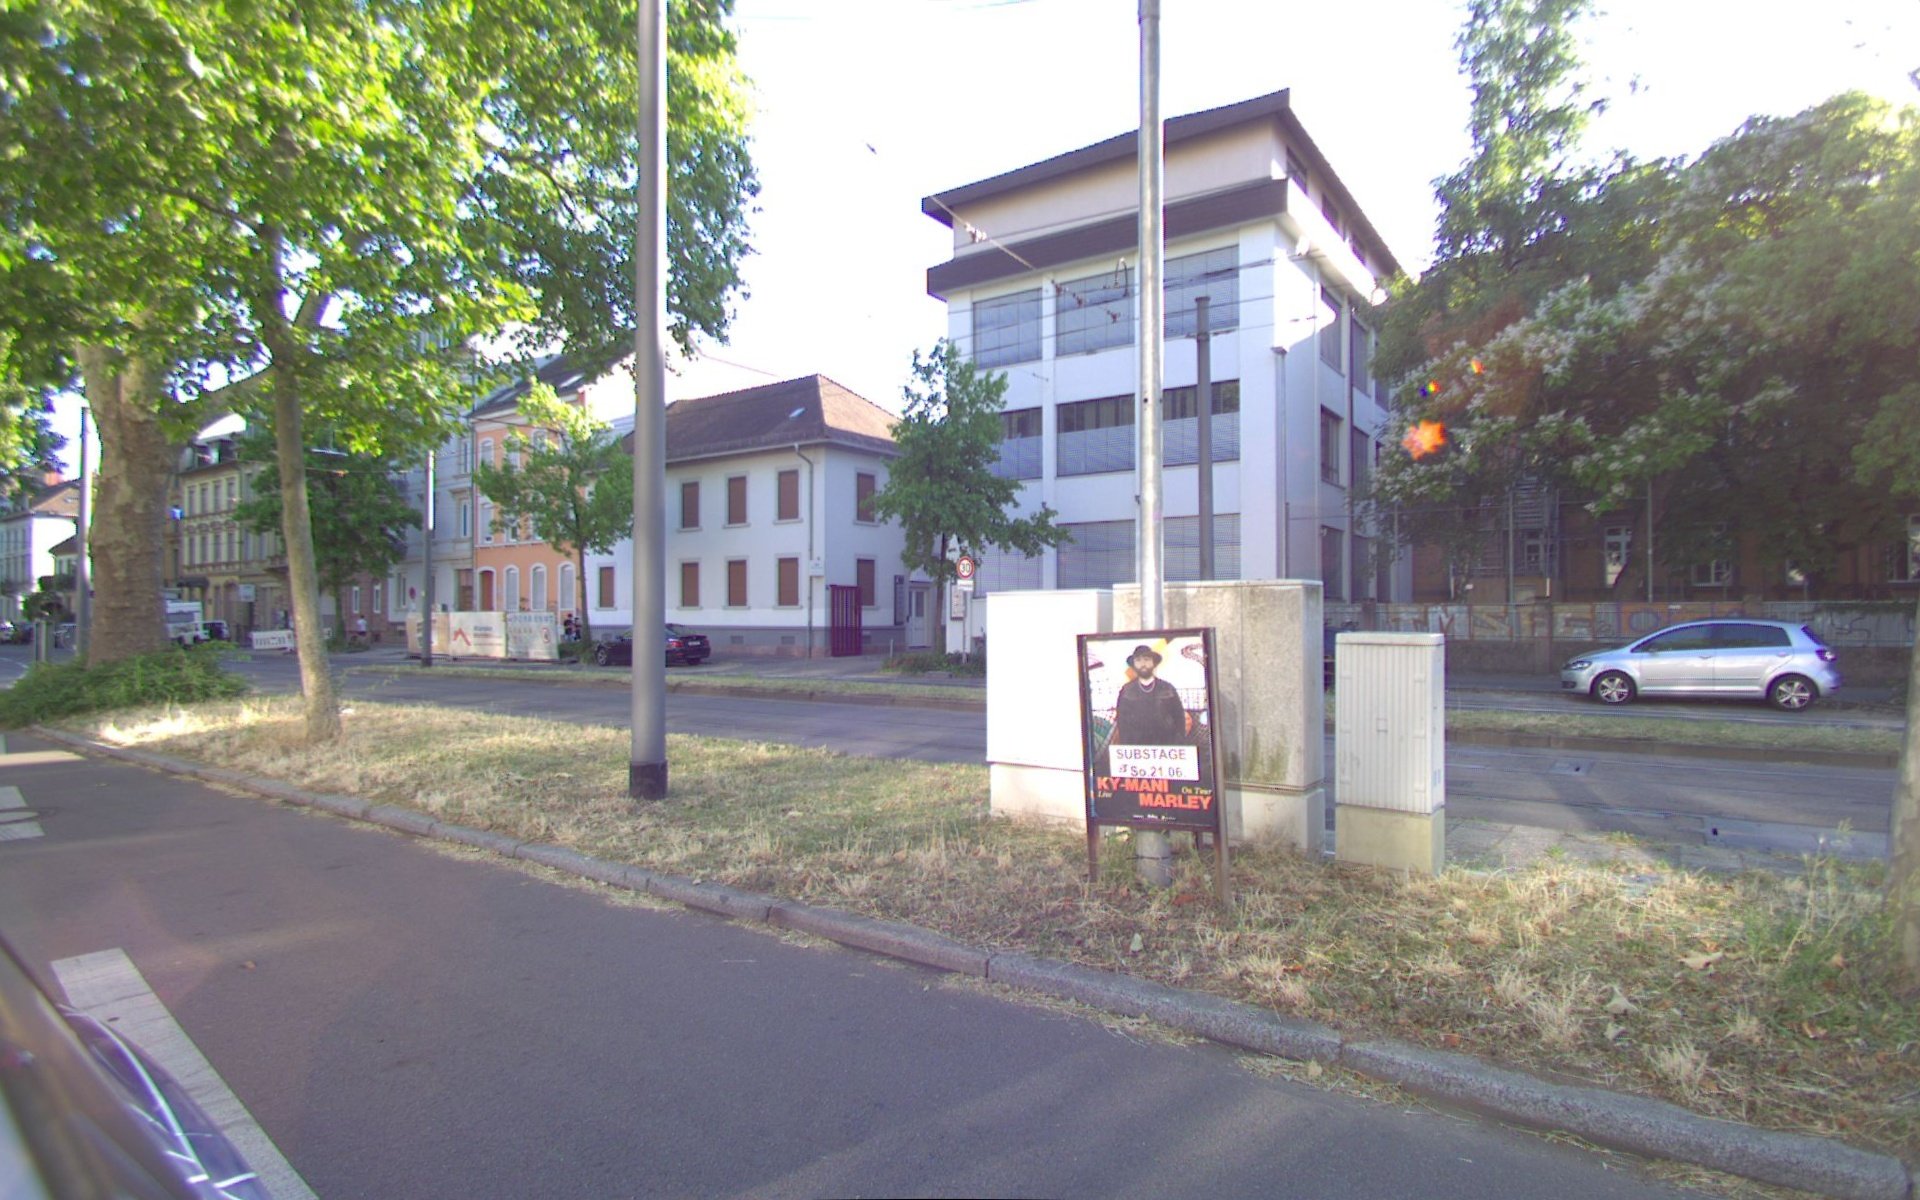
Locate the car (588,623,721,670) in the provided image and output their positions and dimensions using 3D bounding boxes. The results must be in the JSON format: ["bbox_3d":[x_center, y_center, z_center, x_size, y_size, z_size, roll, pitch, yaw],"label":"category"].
[{"bbox_3d":[-10.632,1.586,35.119,4.714,1.525,1.976,-1,-2,35],"label":"car"}]

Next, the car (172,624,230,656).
[{"bbox_3d":[-43.961,2.299,58.601,3.361,1.718,1.618,-1,1,33],"label":"car"}]

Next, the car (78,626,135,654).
[{"bbox_3d":[-57.218,2.654,67.813,4.432,1.718,1.795,-1,2,35],"label":"car"}]

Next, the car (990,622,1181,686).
[{"bbox_3d":[3.133,1.318,25.624,4.394,1.482,1.977,-1,-2,34],"label":"car"}]

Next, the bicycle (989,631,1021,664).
[{"bbox_3d":[1.427,1.490,31.972,1.016,1.010,0.300,-1,-2,35],"label":"bicycle"}]

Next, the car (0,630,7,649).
[{"bbox_3d":[-81.259,3.315,84.515,4.460,1.502,1.569,-1,0,35],"label":"car"}]

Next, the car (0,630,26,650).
[{"bbox_3d":[-76.843,3.220,81.382,4.394,1.465,1.649,-1,1,35],"label":"car"}]

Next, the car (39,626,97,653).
[{"bbox_3d":[-63.303,2.782,71.836,4.739,1.715,1.977,-1,2,35],"label":"car"}]

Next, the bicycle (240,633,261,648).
[{"bbox_3d":[-44.908,2.559,64.074,1.789,0.931,0.573,-1,-2,38],"label":"bicycle"}]

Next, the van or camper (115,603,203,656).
[{"bbox_3d":[-49.264,1.794,62.176,7.238,2.969,2.397,-1,2,37],"label":"van or camper"}]

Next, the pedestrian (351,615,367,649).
[{"bbox_3d":[-33.052,1.763,55.621,0.480,1.832,0.592,-1,-2,36],"label":"pedestrian"}]

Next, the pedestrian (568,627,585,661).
[{"bbox_3d":[-16.150,1.863,42.626,0.470,1.428,0.453,-1,-2,28],"label":"pedestrian"}]

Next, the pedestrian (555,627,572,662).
[{"bbox_3d":[-16.391,1.849,41.879,0.470,1.428,0.453,-1,-2,30],"label":"pedestrian"}]

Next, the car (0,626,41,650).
[{"bbox_3d":[-73.068,2.930,78.679,3.619,1.759,1.709,-1,1,36],"label":"car"}]

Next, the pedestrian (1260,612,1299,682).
[{"bbox_3d":[7.669,1.118,24.311,0.730,1.633,0.630,-1,-1,34],"label":"pedestrian"}]

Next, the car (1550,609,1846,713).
[{"bbox_3d":[13.304,1.050,18.569,4.167,1.702,1.977,-1,-2,34],"label":"car"}]
